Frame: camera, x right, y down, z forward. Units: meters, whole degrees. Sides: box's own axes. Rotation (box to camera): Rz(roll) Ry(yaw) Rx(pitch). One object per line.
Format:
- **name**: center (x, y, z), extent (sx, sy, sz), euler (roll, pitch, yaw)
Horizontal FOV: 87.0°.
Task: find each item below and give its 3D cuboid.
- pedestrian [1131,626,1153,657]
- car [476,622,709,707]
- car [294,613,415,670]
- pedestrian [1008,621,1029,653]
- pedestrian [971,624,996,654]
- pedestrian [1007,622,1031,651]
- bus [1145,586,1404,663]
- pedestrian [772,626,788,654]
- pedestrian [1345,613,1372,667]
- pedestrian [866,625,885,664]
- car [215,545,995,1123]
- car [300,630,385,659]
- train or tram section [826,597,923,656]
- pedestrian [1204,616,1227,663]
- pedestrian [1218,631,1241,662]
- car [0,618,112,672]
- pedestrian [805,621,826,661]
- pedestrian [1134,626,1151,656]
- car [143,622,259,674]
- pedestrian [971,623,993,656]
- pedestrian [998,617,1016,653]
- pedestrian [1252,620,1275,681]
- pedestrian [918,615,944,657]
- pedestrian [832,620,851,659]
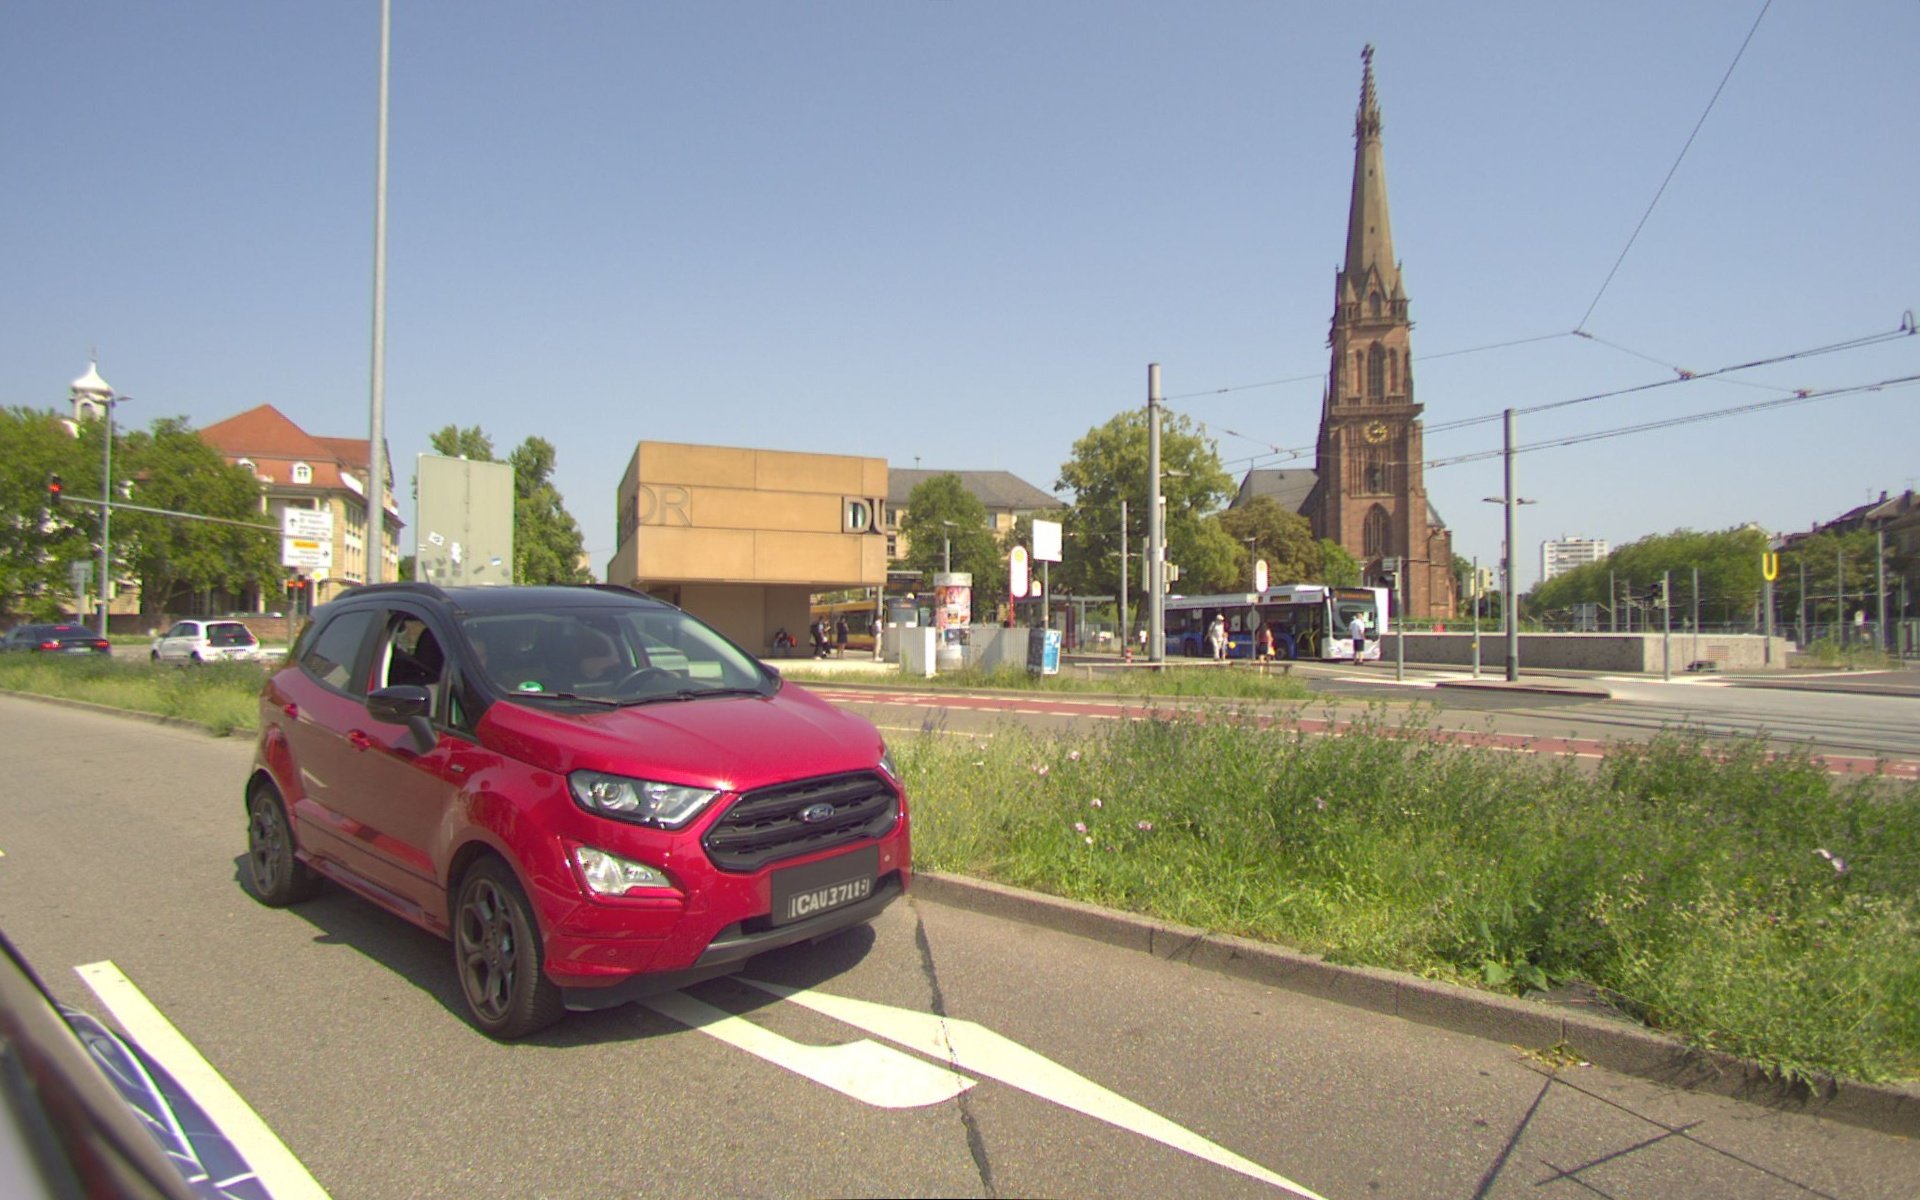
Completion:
- **pedestrian**: center (10.200, 2.339, 56.778), extent (0.832, 1.709, 0.961), euler (1, -2, -21)
- **car**: center (-7.641, 1.267, 20.955), extent (4.696, 1.597, 1.980), euler (-1, -2, 30)
- **car**: center (-20.859, 1.387, 34.838), extent (3.898, 1.868, 1.851), euler (0, -2, 29)
- **pedestrian**: center (3.451, 2.165, 59.550), extent (0.913, 1.837, 0.940), euler (1, -2, -21)
- **pedestrian**: center (1.312, 2.181, 56.759), extent (1.060, 1.709, 1.068), euler (1, -2, -21)
- **pedestrian**: center (3.457, 2.154, 59.406), extent (1.060, 1.709, 1.068), euler (1, -2, -21)
- **bus**: center (12.474, 1.086, 42.303), extent (3.346, 2.733, 12.382), euler (1, -2, -21)
- **pedestrian**: center (-7.154, 1.586, 40.146), extent (0.530, 1.108, 0.543), euler (1, -2, -18)
- **pedestrian**: center (13.801, 1.370, 35.026), extent (0.591, 1.825, 0.640), euler (-1, 0, -33)
- **pedestrian**: center (-3.292, 1.742, 39.460), extent (0.541, 1.508, 0.532), euler (-1, -3, 39)
- **car**: center (-1.871, 0.682, 4.688), extent (3.841, 1.598, 1.673), euler (-1, -1, 40)
- **car**: center (-36.546, 2.629, 59.999), extent (1.788, 1.630, 3.968), euler (-1, -2, 23)
- **train or tram section**: center (-5.922, 1.787, 66.880), extent (2.658, 3.465, 13.464), euler (1, -2, -22)
- **pedestrian**: center (9.420, 1.446, 37.332), extent (0.527, 1.724, 0.695), euler (1, -2, -14)
- **pedestrian**: center (10.055, 1.731, 37.764), extent (0.627, 1.134, 0.603), euler (-1, 0, -15)
- **car**: center (-25.316, 1.237, 28.257), extent (3.465, 1.437, 1.510), euler (-1, -2, 32)
- **pedestrian**: center (-5.518, 1.567, 38.674), extent (0.541, 1.508, 0.532), euler (-1, -3, 39)
- **pedestrian**: center (10.270, 2.300, 56.928), extent (0.765, 1.720, 0.699), euler (-1, -2, 30)
- **car**: center (-22.986, 1.432, 30.633), extent (3.462, 1.490, 1.512), euler (-1, -2, 29)
- **pedestrian**: center (1.225, 2.193, 56.859), extent (0.913, 1.837, 0.940), euler (1, -2, -21)
- **pedestrian**: center (2.428, 1.820, 52.671), extent (0.792, 1.837, 0.535), euler (1, -2, -21)
- **pedestrian**: center (9.180, 1.514, 30.656), extent (0.632, 1.825, 0.599), euler (-1, 0, 15)
- **pedestrian**: center (-1.045, 1.298, 36.722), extent (0.605, 1.508, 0.761), euler (-1, -3, 39)
- **pedestrian**: center (-4.620, 1.532, 39.454), extent (0.541, 1.508, 0.532), euler (-1, -3, 39)
